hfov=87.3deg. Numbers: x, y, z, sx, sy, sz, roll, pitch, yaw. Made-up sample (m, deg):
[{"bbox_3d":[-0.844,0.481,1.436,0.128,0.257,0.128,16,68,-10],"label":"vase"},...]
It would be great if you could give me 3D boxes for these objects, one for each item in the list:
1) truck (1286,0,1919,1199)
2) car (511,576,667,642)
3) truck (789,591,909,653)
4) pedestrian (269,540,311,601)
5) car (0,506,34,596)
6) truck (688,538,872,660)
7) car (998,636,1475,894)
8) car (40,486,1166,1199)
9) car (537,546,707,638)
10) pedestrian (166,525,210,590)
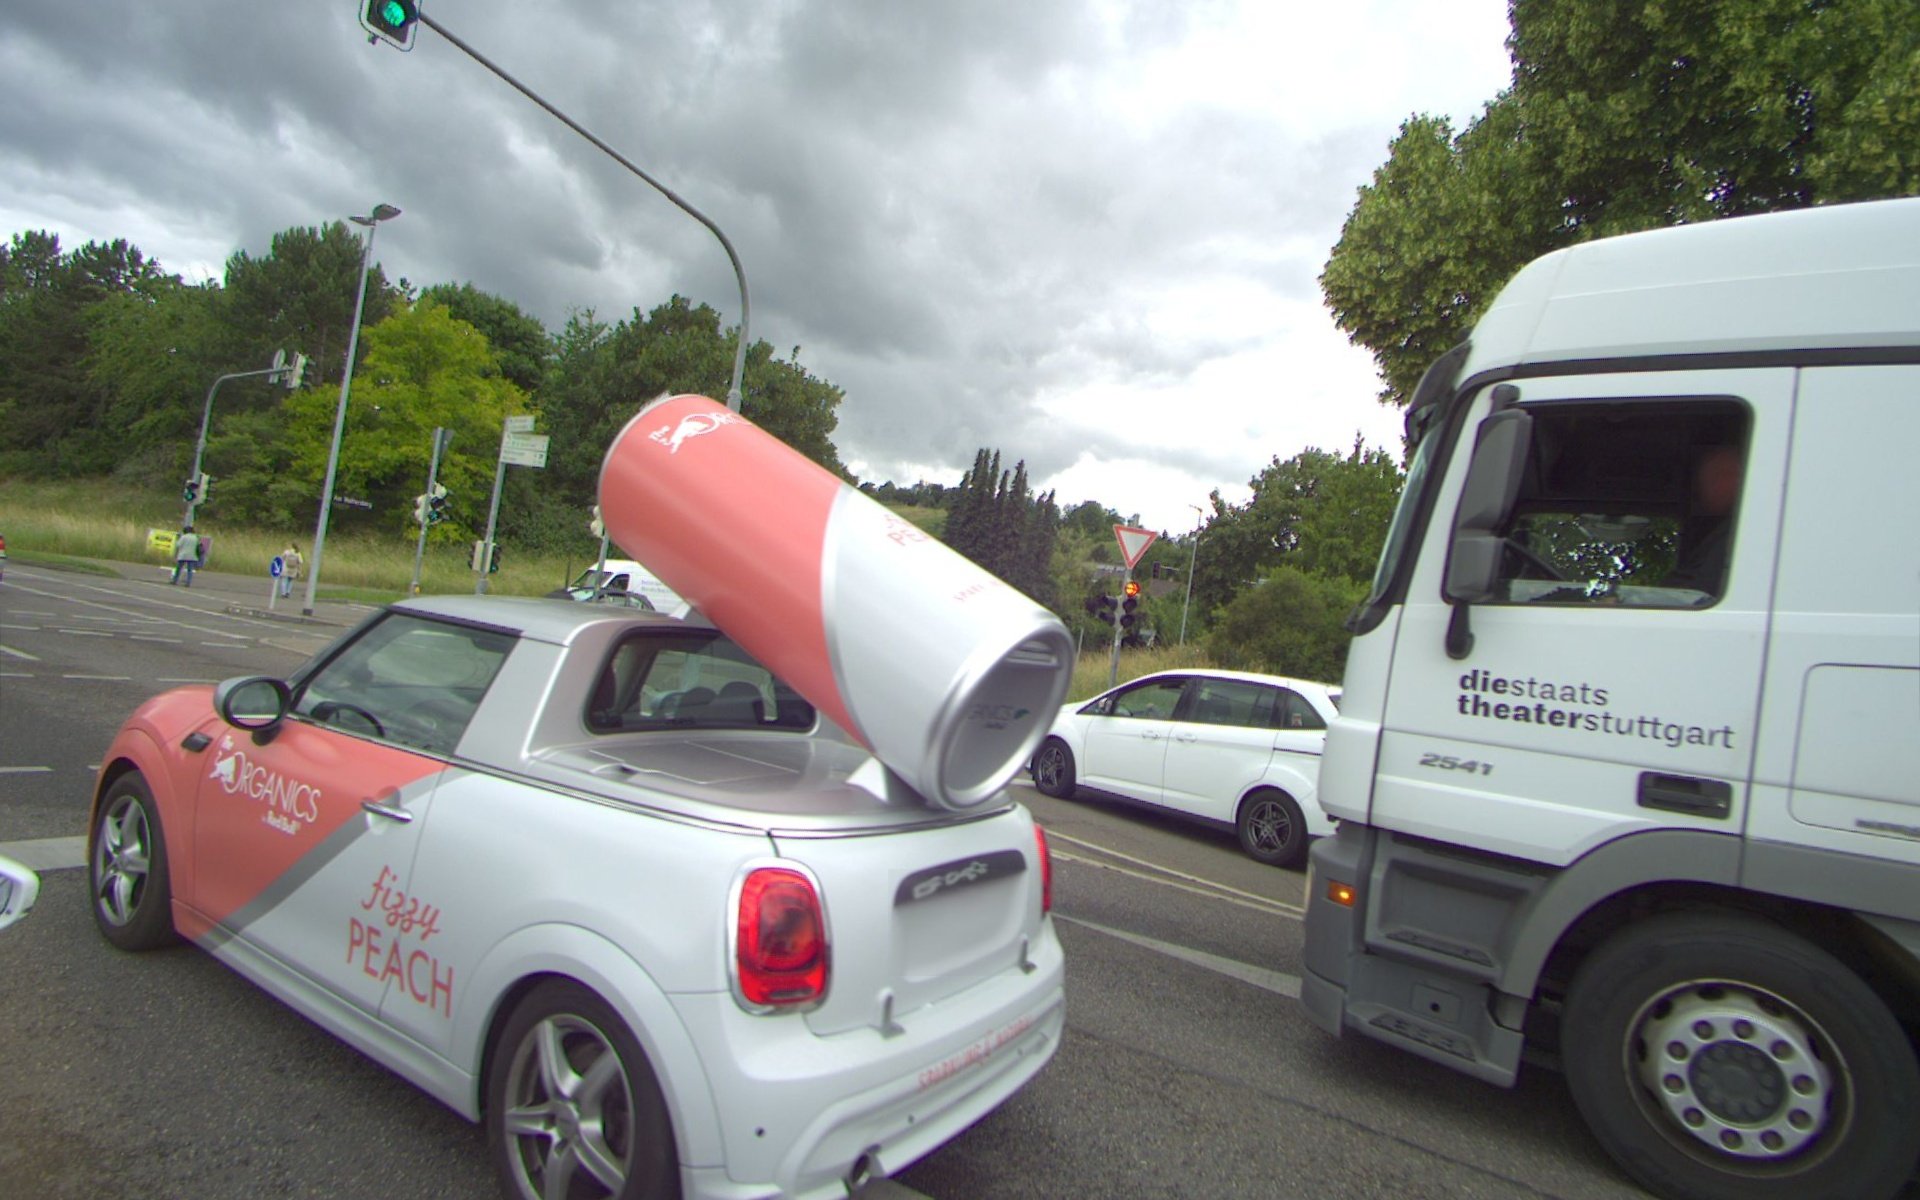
[{"bbox_3d":[6.396,0.435,2.274,10.013,3.949,2.808,7,-1,32],"label":"truck"},{"bbox_3d":[-10.574,0.292,28.921,1.669,1.353,3.882,6,-3,34],"label":"car"},{"bbox_3d":[-5.259,1.113,48.732,2.128,2.255,6.028,6,-2,35],"label":"truck"},{"bbox_3d":[-19.206,-0.844,28.845,0.703,1.630,0.644,6,-1,37],"label":"pedestrian"},{"bbox_3d":[-17.444,-1.070,16.795,4.219,1.398,1.750,7,-2,32],"label":"car"},{"bbox_3d":[-6.152,0.066,35.323,2.648,3.527,6.004,6,-1,34],"label":"truck"},{"bbox_3d":[2.529,1.490,10.197,1.752,1.673,4.325,10,-3,-37],"label":"car"},{"bbox_3d":[-1.305,0.619,3.549,3.435,1.523,1.825,7,-1,30],"label":"car"},{"bbox_3d":[-12.552,-0.208,37.809,1.968,2.660,5.814,6,-2,34],"label":"car"},{"bbox_3d":[-21.211,-1.165,27.648,0.703,1.681,0.644,6,-1,39],"label":"pedestrian"}]
